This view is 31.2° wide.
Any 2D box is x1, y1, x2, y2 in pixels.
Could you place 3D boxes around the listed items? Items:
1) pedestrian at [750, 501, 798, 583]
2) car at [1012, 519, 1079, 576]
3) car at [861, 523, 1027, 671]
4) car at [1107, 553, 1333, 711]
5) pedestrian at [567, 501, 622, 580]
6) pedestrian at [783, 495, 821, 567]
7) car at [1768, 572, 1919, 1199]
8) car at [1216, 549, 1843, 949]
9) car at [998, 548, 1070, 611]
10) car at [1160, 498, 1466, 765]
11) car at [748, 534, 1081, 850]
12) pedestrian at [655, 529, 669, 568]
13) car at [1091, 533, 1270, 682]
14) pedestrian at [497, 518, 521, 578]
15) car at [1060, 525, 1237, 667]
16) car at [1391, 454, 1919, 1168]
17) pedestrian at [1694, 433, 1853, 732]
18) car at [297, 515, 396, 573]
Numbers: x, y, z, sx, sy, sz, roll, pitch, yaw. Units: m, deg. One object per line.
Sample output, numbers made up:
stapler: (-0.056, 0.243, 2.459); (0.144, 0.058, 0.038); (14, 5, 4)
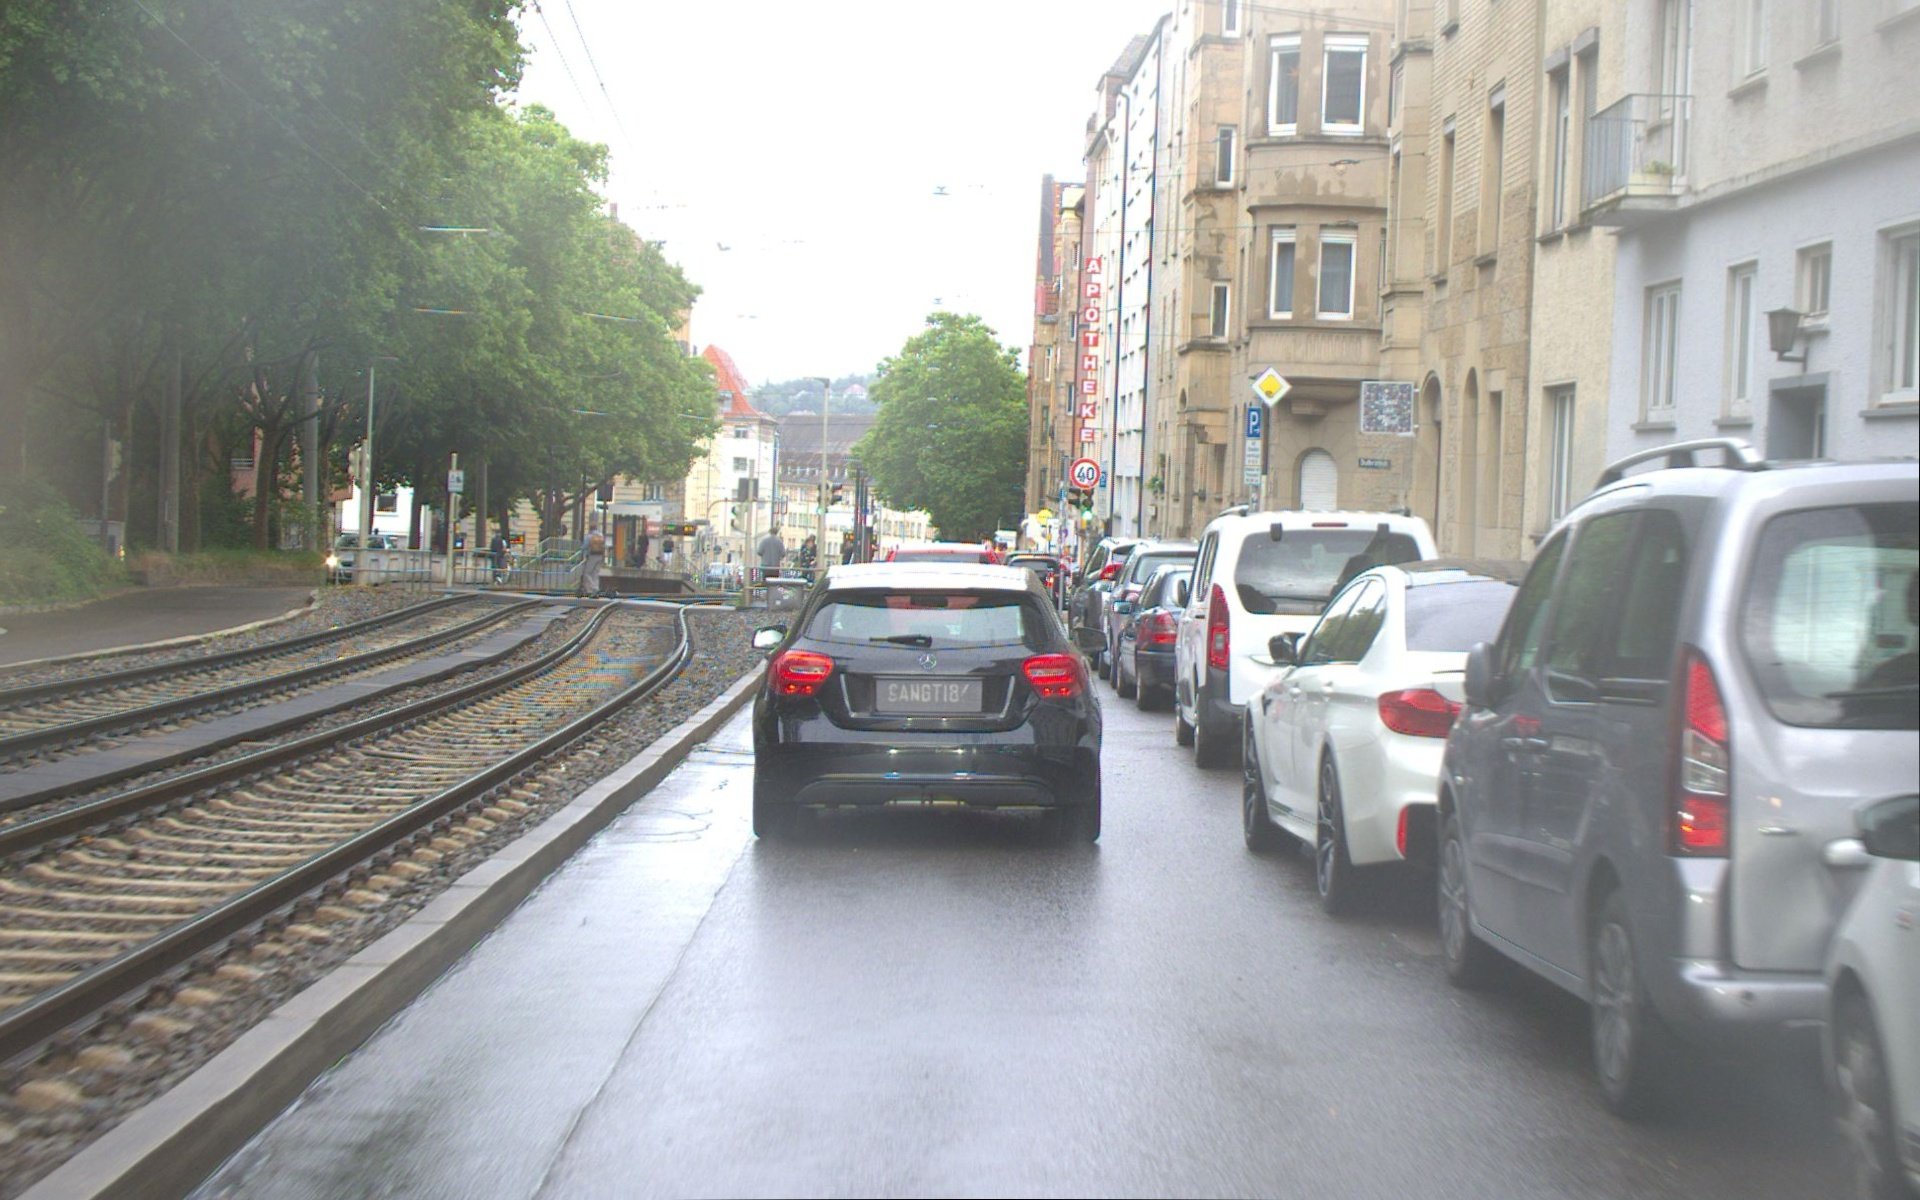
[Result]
pedestrian: (-4.561, -1.433, 84.257); (1.137, 1.991, 1.173); (0, 1, -4)
car: (2.406, -1.509, 97.130); (1.759, 1.573, 4.000); (0, 1, -1)
car: (-0.189, -0.070, 39.598); (1.785, 1.575, 4.000); (1, 1, 0)
car: (2.447, 0.261, 33.348); (1.717, 1.342, 4.462); (2, 1, -1)
pedestrian: (-8.223, -1.337, 77.330); (1.054, 1.713, 0.904); (2, 1, 1)
pedestrian: (-3.558, -1.559, 77.518); (0.806, 1.628, 0.892); (0, 1, 0)
car: (2.691, 0.709, 6.235); (1.570, 1.457, 3.600); (1, 1, 0)
car: (2.364, 0.536, 15.610); (1.871, 1.450, 4.903); (1, 1, -2)
car: (1.972, -0.578, 92.648); (1.827, 1.612, 3.864); (0, 1, 0)
car: (2.497, 0.165, 25.294); (1.828, 1.744, 4.467); (1, 1, 1)
car: (-0.252, 0.415, 18.476); (1.580, 1.499, 3.575); (1, 1, -1)
pedestrian: (-13.430, -2.336, 154.994); (0.518, 1.711, 0.551); (3, 1, 0)
car: (2.419, 0.044, 38.449); (1.693, 1.524, 4.000); (2, 1, 0)
pedestrian: (-13.378, -1.538, 101.899); (0.534, 1.748, 0.607); (3, 1, 0)
car: (2.353, -0.084, 43.979); (1.766, 1.662, 4.333); (2, 1, -3)
car: (2.534, 0.485, 10.606); (1.790, 1.759, 4.212); (0, 1, -1)
pedestrian: (5.115, -0.117, 21.665); (0.746, 1.827, 1.039); (-1, 1, 1)
car: (-16.704, -1.537, 93.833); (1.817, 1.499, 4.634); (2, 1, 0)
